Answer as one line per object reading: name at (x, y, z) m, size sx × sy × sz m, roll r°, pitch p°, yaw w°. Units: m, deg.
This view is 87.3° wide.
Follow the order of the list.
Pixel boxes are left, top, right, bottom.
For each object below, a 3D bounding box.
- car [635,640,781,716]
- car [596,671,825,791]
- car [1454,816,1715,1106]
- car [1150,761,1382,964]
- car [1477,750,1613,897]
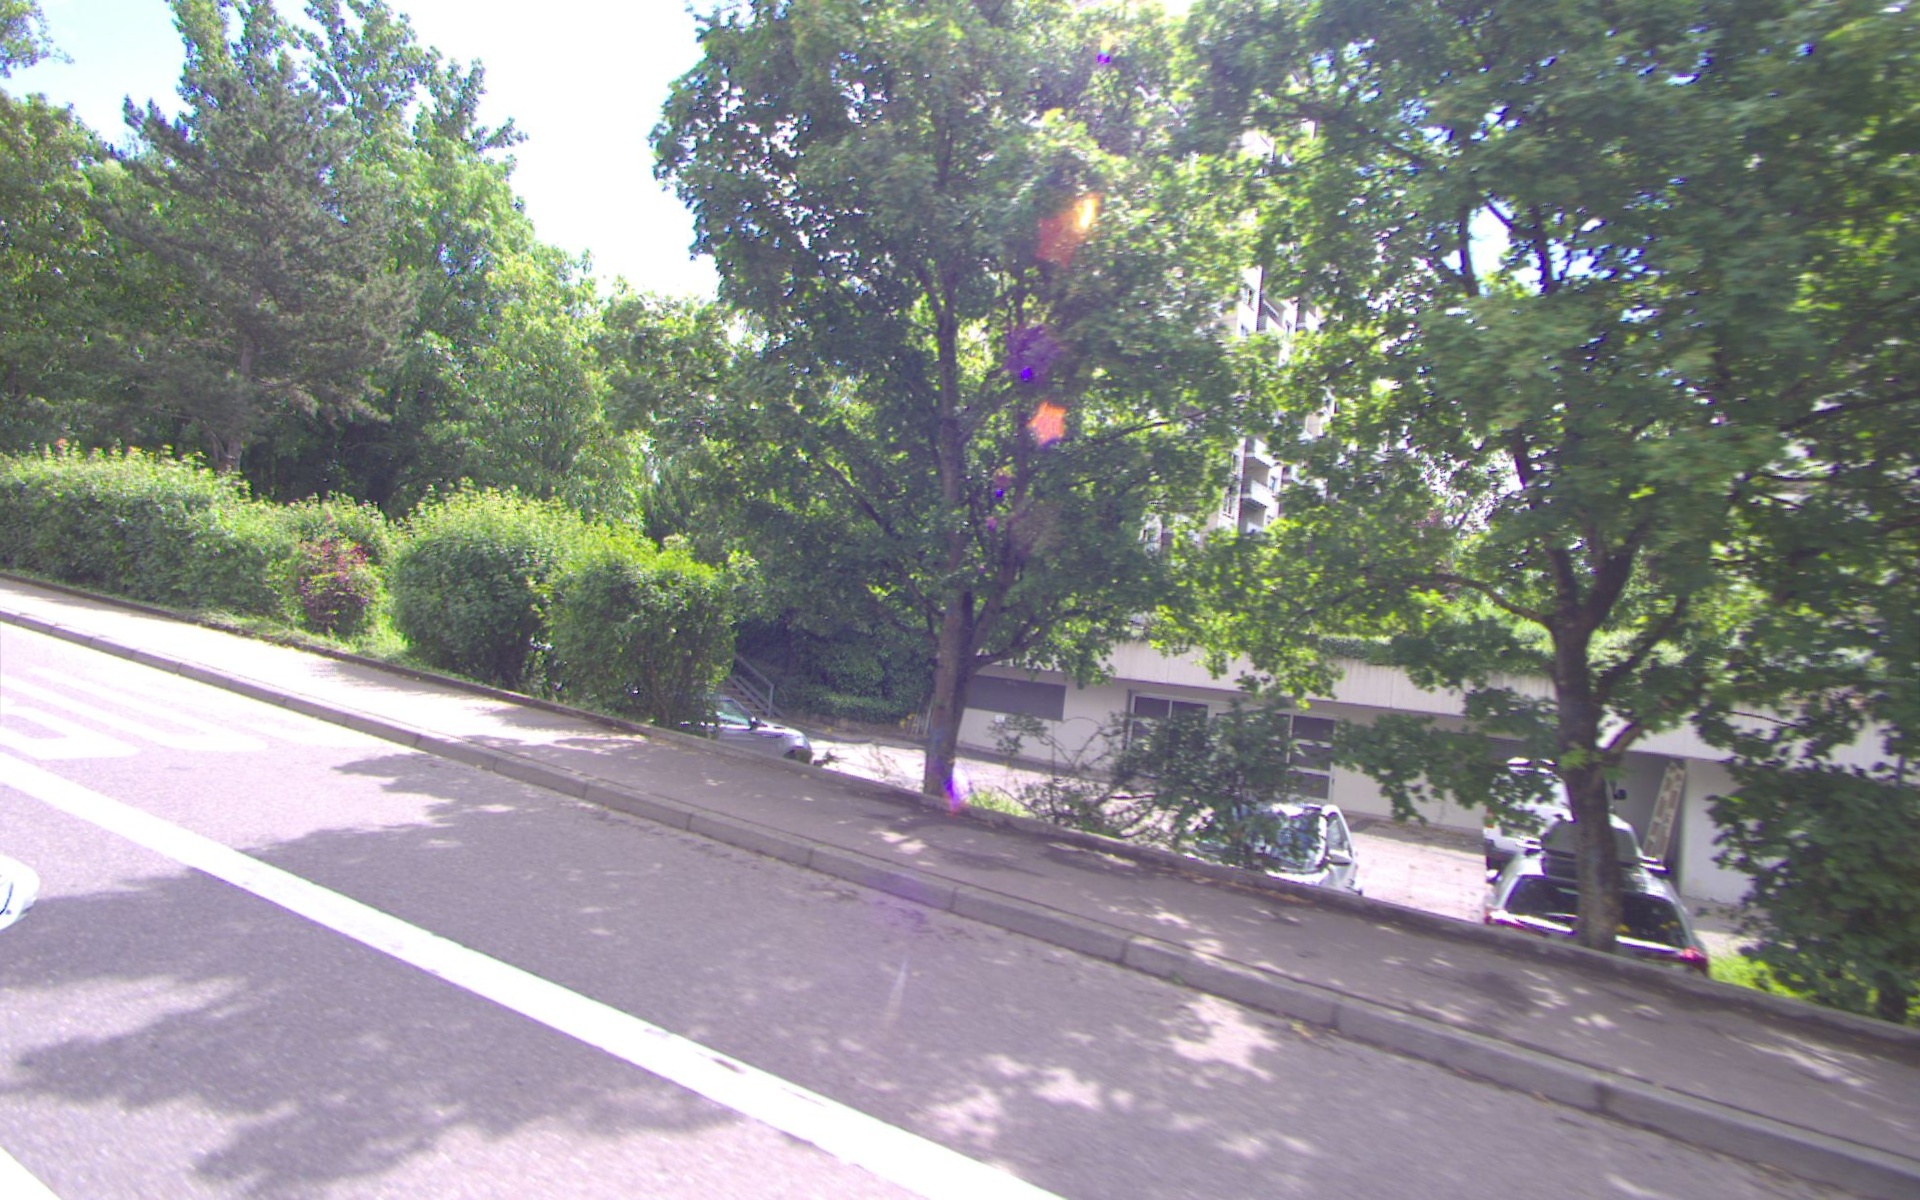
car at (-7.464, 2.292, 29.722) m, size 3.934 × 1.636 × 1.828 m, roll 7°, pitch -2°, yaw 33°
car at (-3.877, 2.069, 16.094) m, size 1.547 × 1.507 × 3.263 m, roll 7°, pitch -2°, yaw 32°
car at (5.474, 2.959, 9.062) m, size 1.538 × 1.448 × 3.763 m, roll 5°, pitch -4°, yaw 30°
car at (3.480, 2.731, 11.115) m, size 1.694 × 1.486 × 2.964 m, roll 7°, pitch -2°, yaw 30°
car at (10.667, 3.882, 18.205) m, size 1.763 × 1.914 × 3.990 m, roll 4°, pitch -2°, yaw 34°
